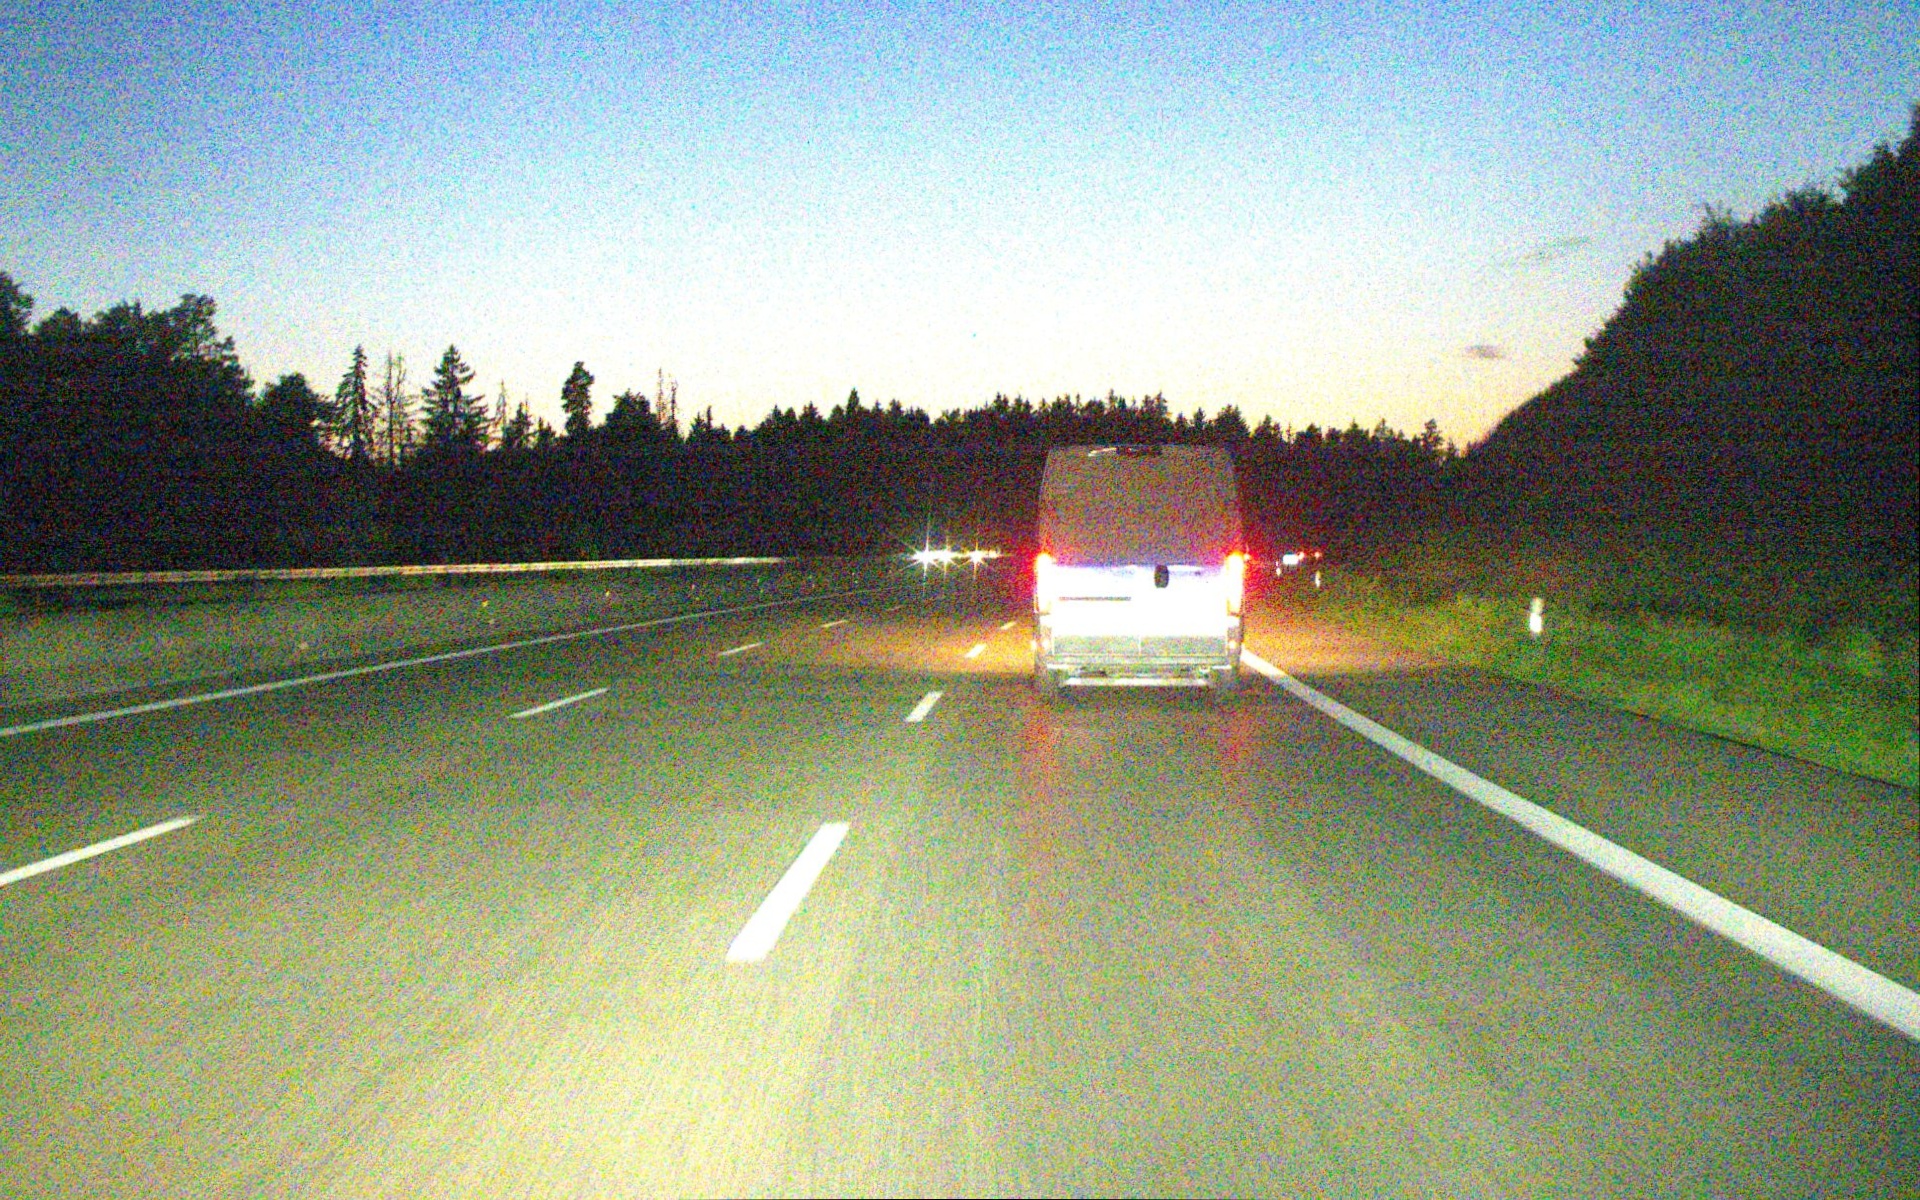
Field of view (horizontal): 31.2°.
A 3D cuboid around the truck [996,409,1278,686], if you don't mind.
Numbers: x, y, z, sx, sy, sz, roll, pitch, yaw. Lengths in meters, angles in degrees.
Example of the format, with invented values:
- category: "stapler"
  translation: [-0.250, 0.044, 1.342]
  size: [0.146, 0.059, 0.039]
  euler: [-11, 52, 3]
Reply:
- category: "truck"
  translation: [1.728, -0.527, 36.960]
  size: [2.630, 2.615, 8.685]
  euler: [0, 0, 0]
